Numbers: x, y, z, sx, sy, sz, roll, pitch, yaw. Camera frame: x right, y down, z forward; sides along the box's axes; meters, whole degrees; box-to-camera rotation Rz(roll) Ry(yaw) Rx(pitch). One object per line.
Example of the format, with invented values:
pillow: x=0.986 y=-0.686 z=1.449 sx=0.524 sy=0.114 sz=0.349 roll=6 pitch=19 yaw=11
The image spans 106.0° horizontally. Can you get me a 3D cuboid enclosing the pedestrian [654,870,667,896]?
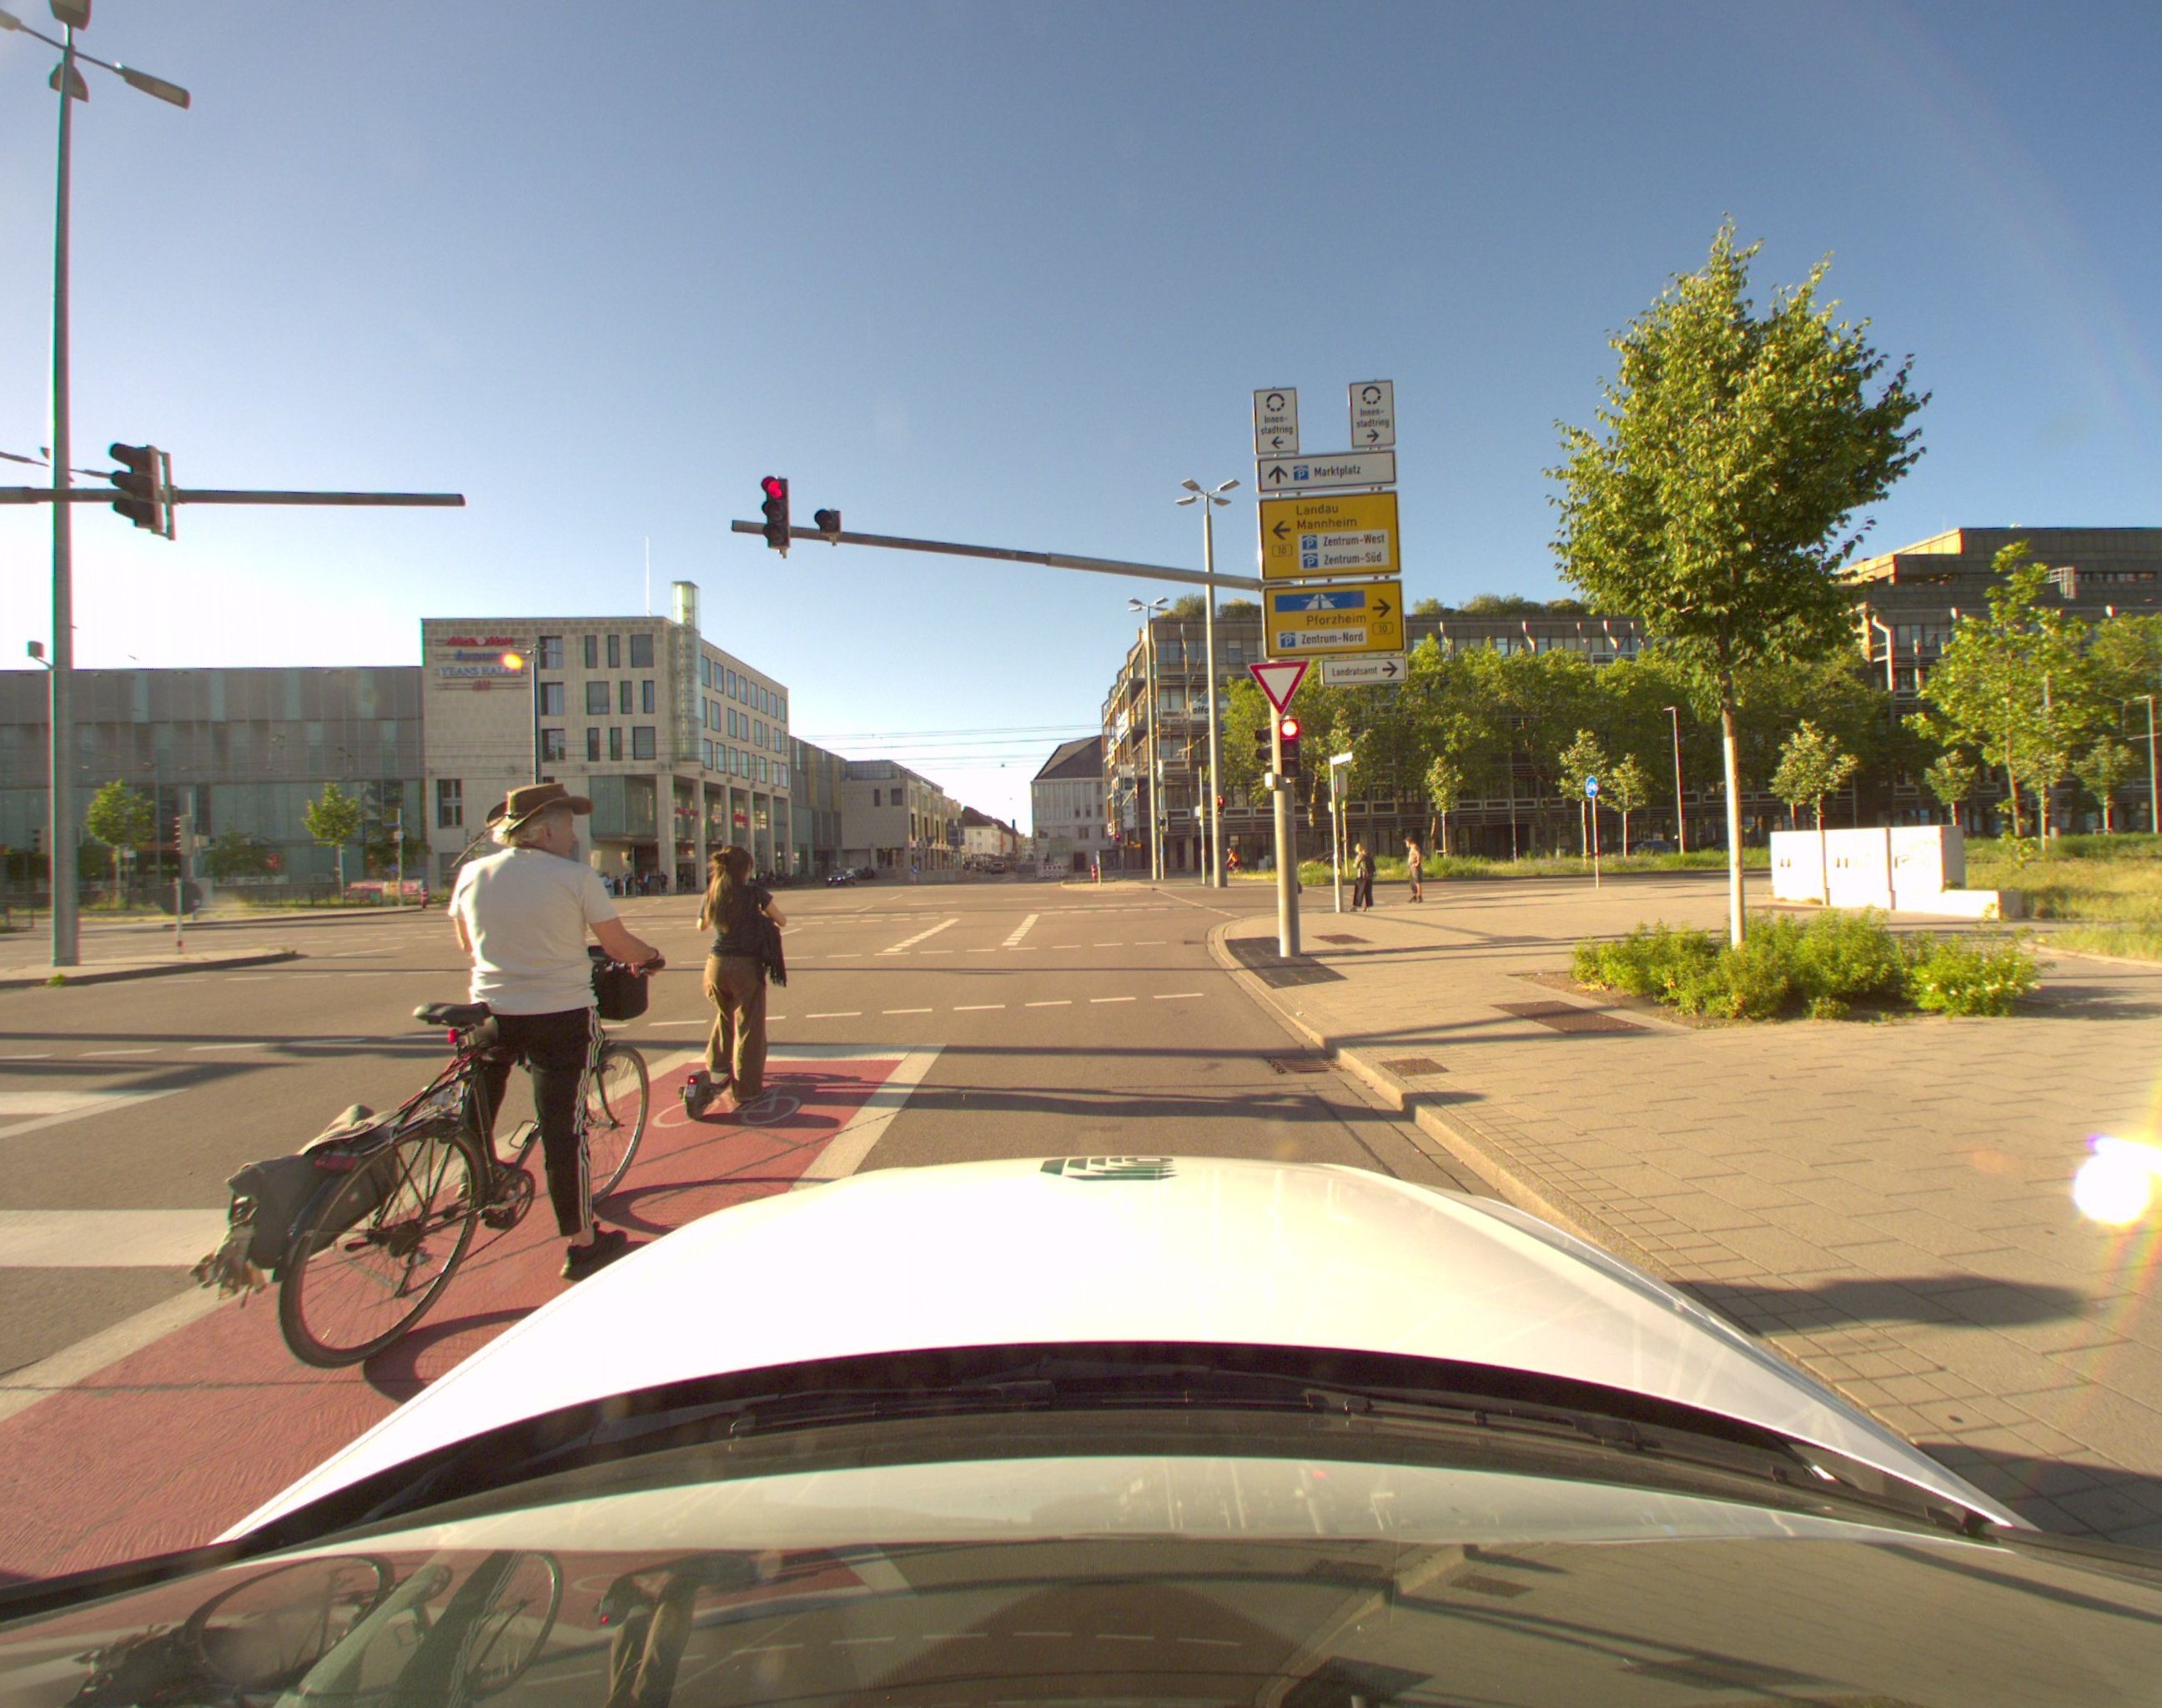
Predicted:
pedestrian: x=-30.796 y=2.111 z=59.667 sx=0.800 sy=1.843 sz=0.856 roll=-2 pitch=0 yaw=-26

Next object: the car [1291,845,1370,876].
car: x=14.052 y=0.356 z=45.969 sx=3.880 sy=1.585 sz=1.656 roll=-2 pitch=-1 yaw=-6

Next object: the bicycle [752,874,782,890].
bicycle: x=-26.737 y=2.399 z=69.375 sx=2.299 sy=1.222 sz=0.612 roll=-2 pitch=0 yaw=-1

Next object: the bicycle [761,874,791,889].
bicycle: x=-26.466 y=2.408 z=70.652 sx=2.299 sy=1.222 sz=0.612 roll=-2 pitch=0 yaw=-1

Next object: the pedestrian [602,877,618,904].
pedestrian: x=-33.963 y=2.617 z=58.724 sx=0.714 sy=1.885 sz=0.786 roll=0 pitch=-1 yaw=-6

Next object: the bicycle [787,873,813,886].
bicycle: x=-27.633 y=2.494 z=80.127 sx=2.299 sy=1.222 sz=0.612 roll=-2 pitch=0 yaw=-1

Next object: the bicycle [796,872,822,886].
bicycle: x=-27.189 y=2.501 z=81.344 sx=2.299 sy=1.222 sz=0.612 roll=-2 pitch=0 yaw=-1

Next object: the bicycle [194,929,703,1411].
bicycle: x=-2.151 y=0.944 z=3.139 sx=0.483 sy=1.156 sz=1.832 roll=0 pitch=-1 yaw=2

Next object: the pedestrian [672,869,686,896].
pedestrian: x=-29.109 y=2.059 z=58.941 sx=0.801 sy=1.843 sz=0.855 roll=-2 pitch=0 yaw=-30

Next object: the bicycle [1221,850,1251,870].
bicycle: x=8.965 y=0.354 z=47.121 sx=1.643 sy=1.154 sz=0.496 roll=0 pitch=-1 yaw=-8

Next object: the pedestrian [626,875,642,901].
pedestrian: x=-32.516 y=2.460 z=59.245 sx=0.783 sy=1.885 sz=0.716 roll=0 pitch=-1 yaw=-4

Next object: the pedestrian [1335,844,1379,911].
pedestrian: x=6.307 y=0.526 z=18.656 sx=0.785 sy=1.492 sz=0.644 roll=0 pitch=-1 yaw=1

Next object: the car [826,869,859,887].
car: x=-20.628 y=2.043 z=70.508 sx=1.625 sy=1.342 sz=3.999 roll=-4 pitch=-1 yaw=0

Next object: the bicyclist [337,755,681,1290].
bicyclist: x=-2.059 y=0.544 z=3.062 sx=0.658 sy=1.720 sz=0.866 roll=0 pitch=-1 yaw=1

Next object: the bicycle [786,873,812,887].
bicycle: x=-27.066 y=2.473 z=78.132 sx=2.299 sy=1.222 sz=0.612 roll=-2 pitch=0 yaw=-1

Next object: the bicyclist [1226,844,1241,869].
bicyclist: x=8.831 y=0.127 z=47.106 sx=0.710 sy=1.437 sz=0.496 roll=0 pitch=-1 yaw=-7

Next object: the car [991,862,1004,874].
car: x=-11.141 y=1.848 z=108.656 sx=1.735 sy=1.531 sz=3.848 roll=0 pitch=-1 yaw=-5

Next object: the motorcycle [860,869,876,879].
motorcycle: x=-25.785 y=2.420 z=98.740 sx=1.807 sy=1.206 sz=0.509 roll=0 pitch=0 yaw=-14

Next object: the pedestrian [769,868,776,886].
pedestrian: x=-29.450 y=2.160 z=77.763 sx=0.553 sy=1.679 sz=0.606 roll=0 pitch=0 yaw=-8

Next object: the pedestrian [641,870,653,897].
pedestrian: x=-31.042 y=2.078 z=58.266 sx=0.718 sy=1.885 sz=0.781 roll=0 pitch=-1 yaw=-25

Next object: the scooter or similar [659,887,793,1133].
scooter or similar: x=-2.159 y=0.872 z=5.076 sx=0.547 sy=1.294 sz=1.188 roll=0 pitch=-1 yaw=-13

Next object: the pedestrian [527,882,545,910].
pedestrian: x=-39.361 y=3.025 z=58.824 sx=0.883 sy=2.014 sz=0.771 roll=0 pitch=-1 yaw=-9

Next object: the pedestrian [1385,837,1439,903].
pedestrian: x=8.568 y=0.396 z=21.094 sx=0.881 sy=1.665 sz=0.958 roll=0 pitch=-1 yaw=-19

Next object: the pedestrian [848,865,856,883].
pedestrian: x=-22.048 y=1.889 z=78.363 sx=0.650 sy=1.719 sz=0.447 roll=-2 pitch=0 yaw=-22

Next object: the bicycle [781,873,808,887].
bicycle: x=-26.700 y=2.453 z=75.964 sx=2.299 sy=1.222 sz=0.612 roll=-2 pitch=0 yaw=-1

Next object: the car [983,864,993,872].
car: x=-16.445 y=2.475 z=144.121 sx=1.782 sy=1.451 sz=3.993 roll=0 pitch=-1 yaw=-5

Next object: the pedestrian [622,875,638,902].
pedestrian: x=-31.950 y=2.443 z=57.693 sx=0.783 sy=1.885 sz=0.716 roll=0 pitch=-1 yaw=-4

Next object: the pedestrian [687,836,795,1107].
pedestrian: x=-2.165 y=0.707 z=5.244 sx=0.549 sy=1.633 sz=0.569 roll=0 pitch=-1 yaw=-13

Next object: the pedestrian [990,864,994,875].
pedestrian: x=-12.851 y=2.228 z=117.819 sx=0.520 sy=1.679 sz=0.582 roll=0 pitch=0 yaw=-5

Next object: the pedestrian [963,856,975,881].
pedestrian: x=-8.587 y=1.092 z=62.294 sx=0.637 sy=1.890 sz=0.794 roll=-1 pitch=-1 yaw=16

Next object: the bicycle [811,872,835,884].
bicycle: x=-27.427 y=2.546 z=86.648 sx=2.299 sy=1.222 sz=0.612 roll=-2 pitch=0 yaw=-1

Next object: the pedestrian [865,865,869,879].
pedestrian: x=-26.105 y=2.181 z=99.356 sx=0.521 sy=1.679 sz=0.580 roll=0 pitch=0 yaw=-12

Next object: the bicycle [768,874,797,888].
bicycle: x=-26.744 y=2.428 z=72.897 sx=2.299 sy=1.222 sz=0.612 roll=-2 pitch=0 yaw=-1

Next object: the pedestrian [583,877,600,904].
pedestrian: x=-35.103 y=2.590 z=58.401 sx=0.783 sy=1.885 sz=0.716 roll=0 pitch=-1 yaw=-4

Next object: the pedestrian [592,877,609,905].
pedestrian: x=-33.872 y=2.605 z=57.374 sx=0.783 sy=1.885 sz=0.716 roll=0 pitch=-1 yaw=-4

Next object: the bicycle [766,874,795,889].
bicycle: x=-26.568 y=2.420 z=72.012 sx=2.299 sy=1.222 sz=0.612 roll=-2 pitch=0 yaw=-1

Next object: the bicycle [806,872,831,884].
bicycle: x=-27.592 y=2.538 z=85.582 sx=2.299 sy=1.222 sz=0.612 roll=-2 pitch=0 yaw=-1
